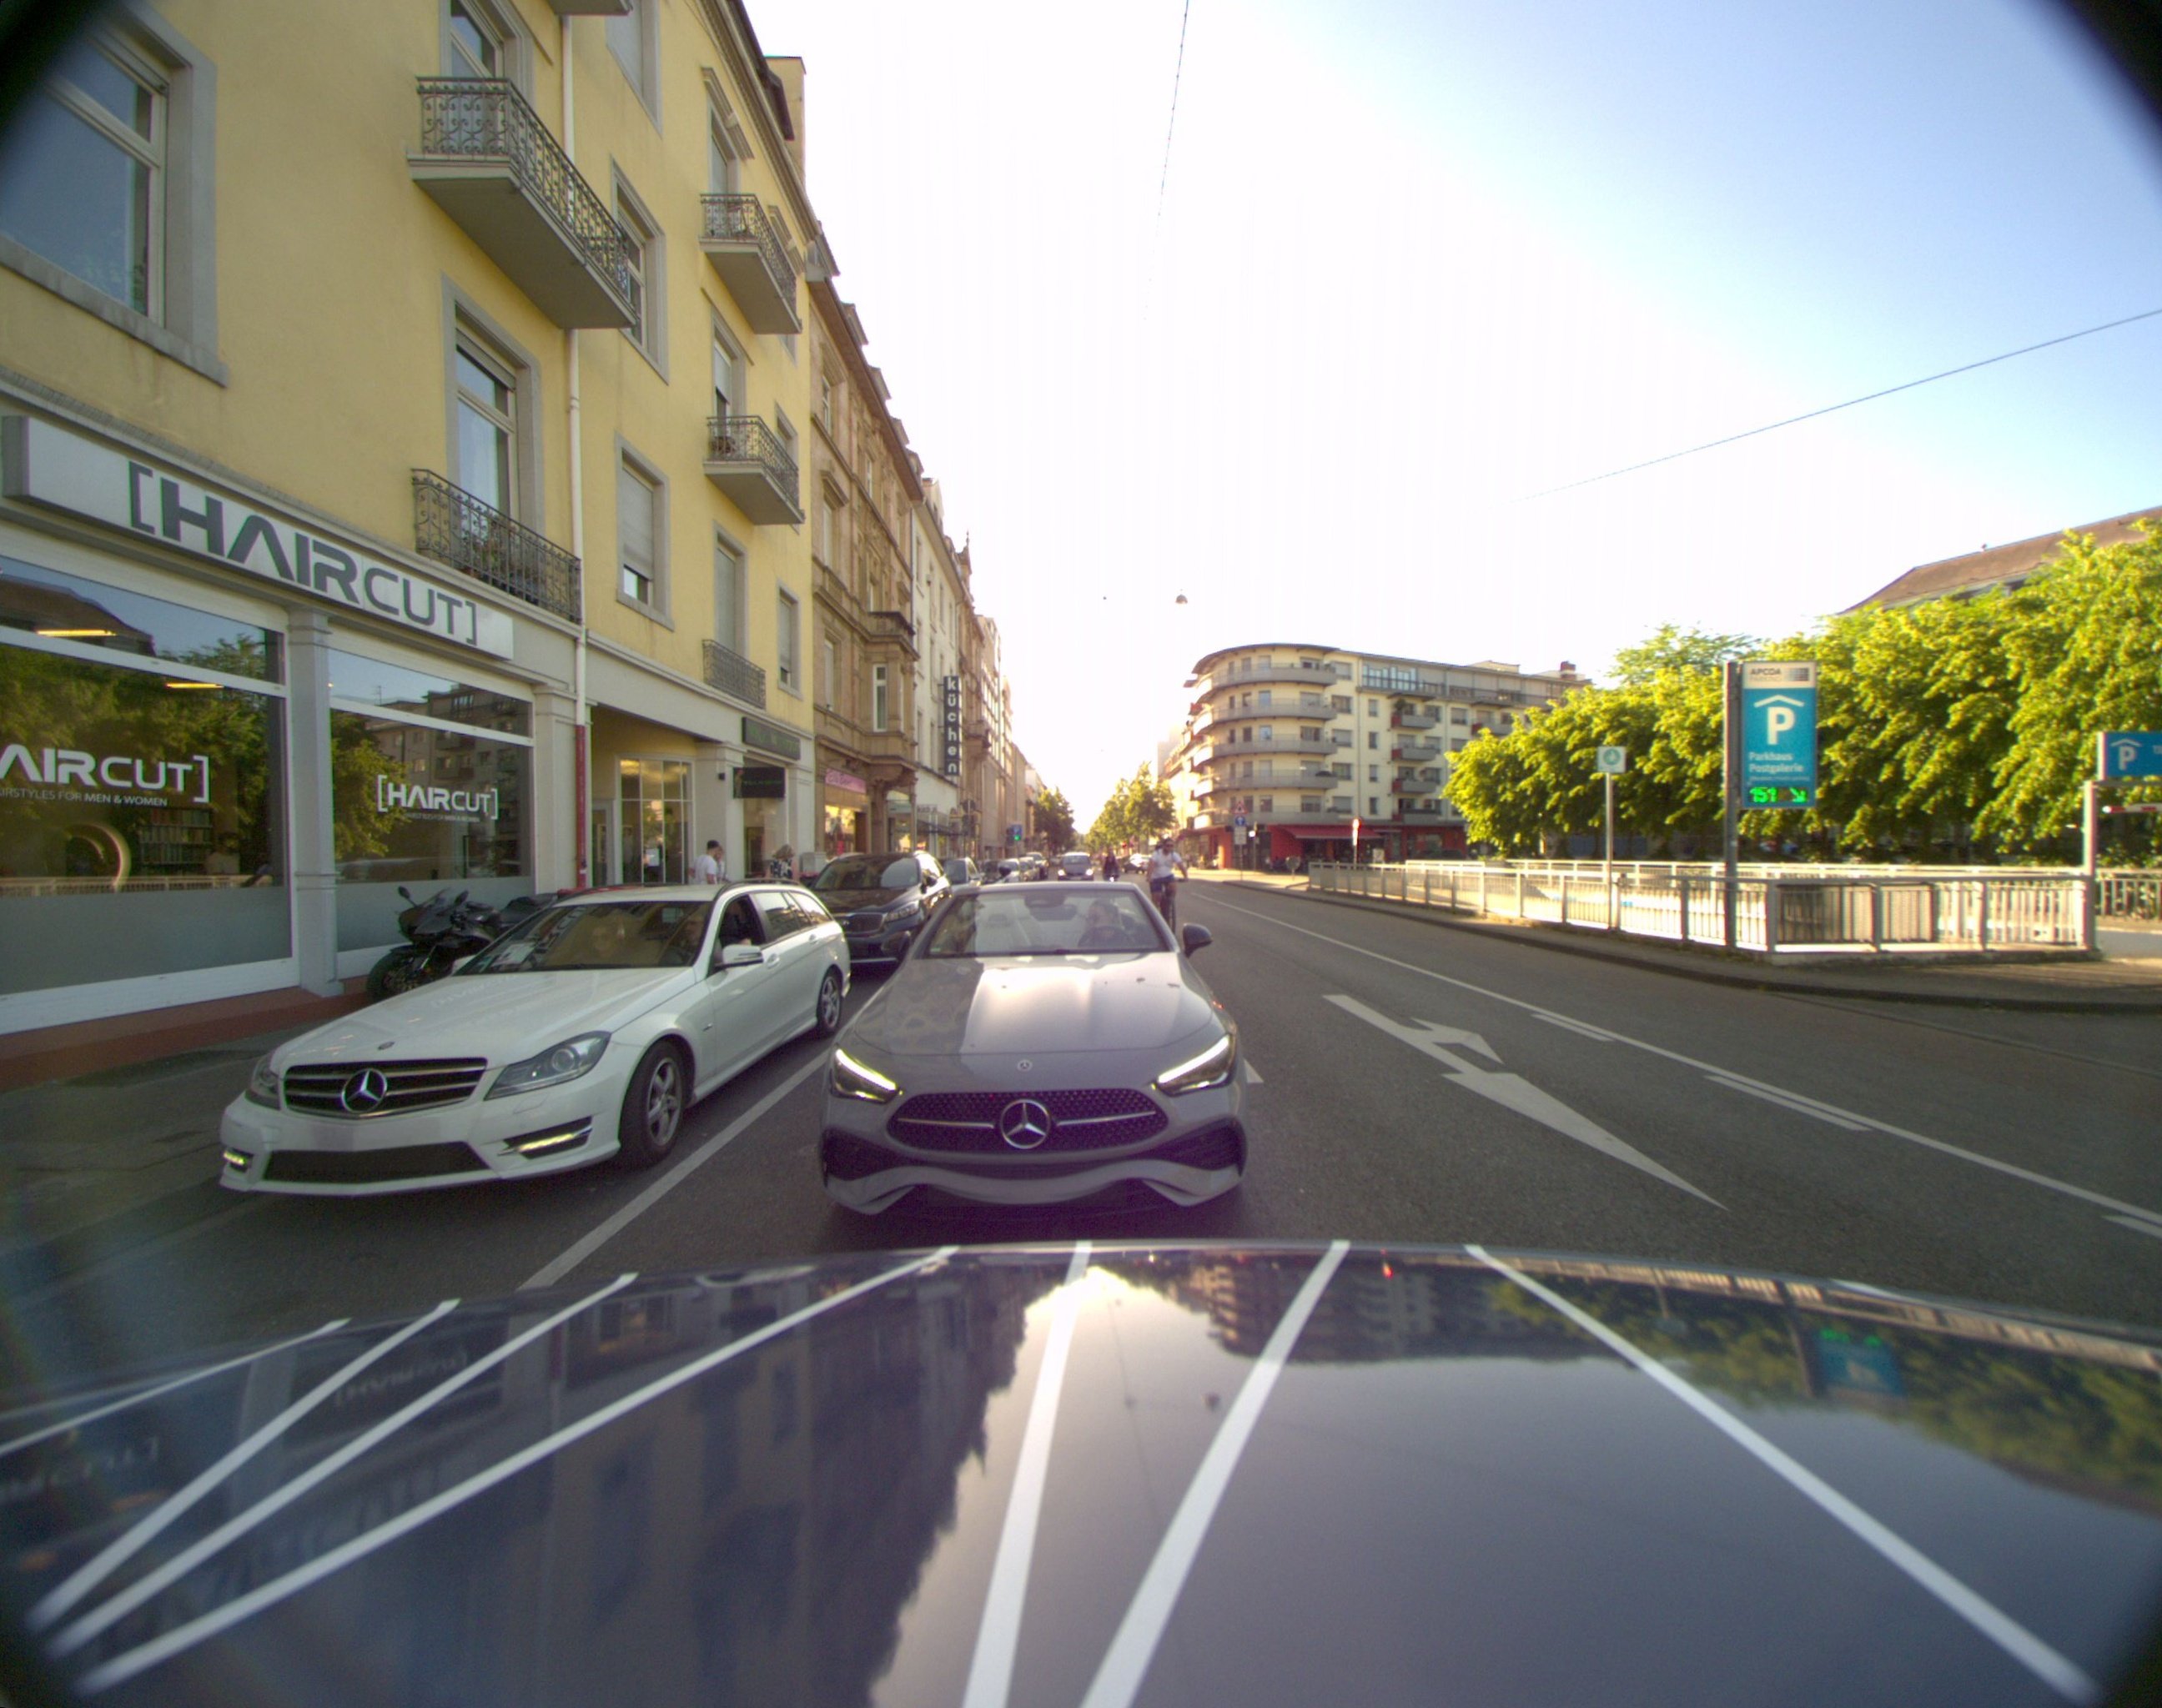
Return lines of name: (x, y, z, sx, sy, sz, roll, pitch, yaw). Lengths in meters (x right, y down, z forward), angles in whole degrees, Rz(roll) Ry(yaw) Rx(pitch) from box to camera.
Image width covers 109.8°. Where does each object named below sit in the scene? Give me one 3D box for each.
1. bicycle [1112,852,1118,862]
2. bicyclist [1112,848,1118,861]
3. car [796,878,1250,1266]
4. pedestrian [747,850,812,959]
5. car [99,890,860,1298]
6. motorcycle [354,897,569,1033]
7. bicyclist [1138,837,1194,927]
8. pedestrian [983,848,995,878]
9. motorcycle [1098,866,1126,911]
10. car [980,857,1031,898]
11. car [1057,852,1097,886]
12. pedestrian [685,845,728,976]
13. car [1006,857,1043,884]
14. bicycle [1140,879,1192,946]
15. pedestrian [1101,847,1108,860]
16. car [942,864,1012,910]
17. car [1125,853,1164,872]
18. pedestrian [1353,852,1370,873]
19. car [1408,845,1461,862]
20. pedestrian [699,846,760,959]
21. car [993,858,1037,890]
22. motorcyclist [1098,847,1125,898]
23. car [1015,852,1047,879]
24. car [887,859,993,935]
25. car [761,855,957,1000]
bicycle: (3.913, 0.365, 87.947, 0.527, 1.163, 1.594, -2, 1, 9)
bicyclist: (3.899, 0.074, 87.903, 0.524, 1.539, 0.799, -2, 1, 9)
car: (-0.265, 0.954, 5.111, 1.802, 1.351, 3.999, -2, 1, -1)
pedestrian: (-4.681, 0.765, 11.824, 0.719, 1.644, 0.606, -1, 1, 1)
car: (-3.078, 1.086, 5.277, 1.704, 1.351, 4.378, -2, 1, 1)
motorcycle: (-6.173, 1.044, 7.739, 0.567, 1.072, 1.954, 2, 1, 1)
bicyclist: (1.590, 0.510, 14.326, 0.885, 1.625, 0.768, -2, 0, -2)
pedestrian: (-5.767, 0.529, 47.606, 0.574, 1.840, 0.665, -2, 1, 1)
motorcycle: (0.903, 0.979, 22.330, 0.720, 1.177, 1.906, -2, 1, 1)
car: (-2.992, 0.909, 30.777, 1.660, 1.423, 4.085, -2, 1, -1)
car: (-0.151, 0.699, 38.081, 1.856, 1.543, 3.999, -2, 1, 1)
pedestrian: (-5.826, 0.855, 11.799, 0.375, 1.971, 0.692, -2, 1, -43)
car: (-3.058, 0.869, 41.416, 1.725, 1.332, 3.668, -2, 1, -1)
bicycle: (1.570, 1.058, 14.258, 0.641, 1.078, 2.061, -1, 0, -2)
pedestrian: (3.602, -0.107, 116.632, 0.860, 2.002, 0.889, -2, 1, 1)
car: (-3.407, 1.037, 25.529, 1.802, 1.259, 4.085, -2, 1, -1)
car: (4.973, 0.627, 60.249, 1.825, 1.346, 4.258, 0, 1, -14)
pedestrian: (21.844, 0.665, 59.200, 0.863, 1.586, 0.887, -3, 1, -38)
car: (29.045, -0.059, 62.423, 4.004, 1.294, 1.753, -2, 1, -23)
pedestrian: (-5.926, 0.805, 12.823, 0.664, 1.840, 0.575, -2, 1, 2)
car: (-3.139, 0.930, 36.881, 1.802, 1.332, 3.838, -2, 1, -1)
motorcyclist: (0.893, 0.525, 22.344, 0.722, 1.438, 0.705, -2, 1, 1)
car: (-3.075, 0.697, 47.561, 1.725, 1.506, 4.004, -2, 1, -1)
car: (-3.295, 0.943, 18.517, 1.802, 1.518, 4.085, -2, 1, -1)
car: (-3.018, 0.894, 11.309, 1.803, 1.629, 4.243, -2, 1, -3)
